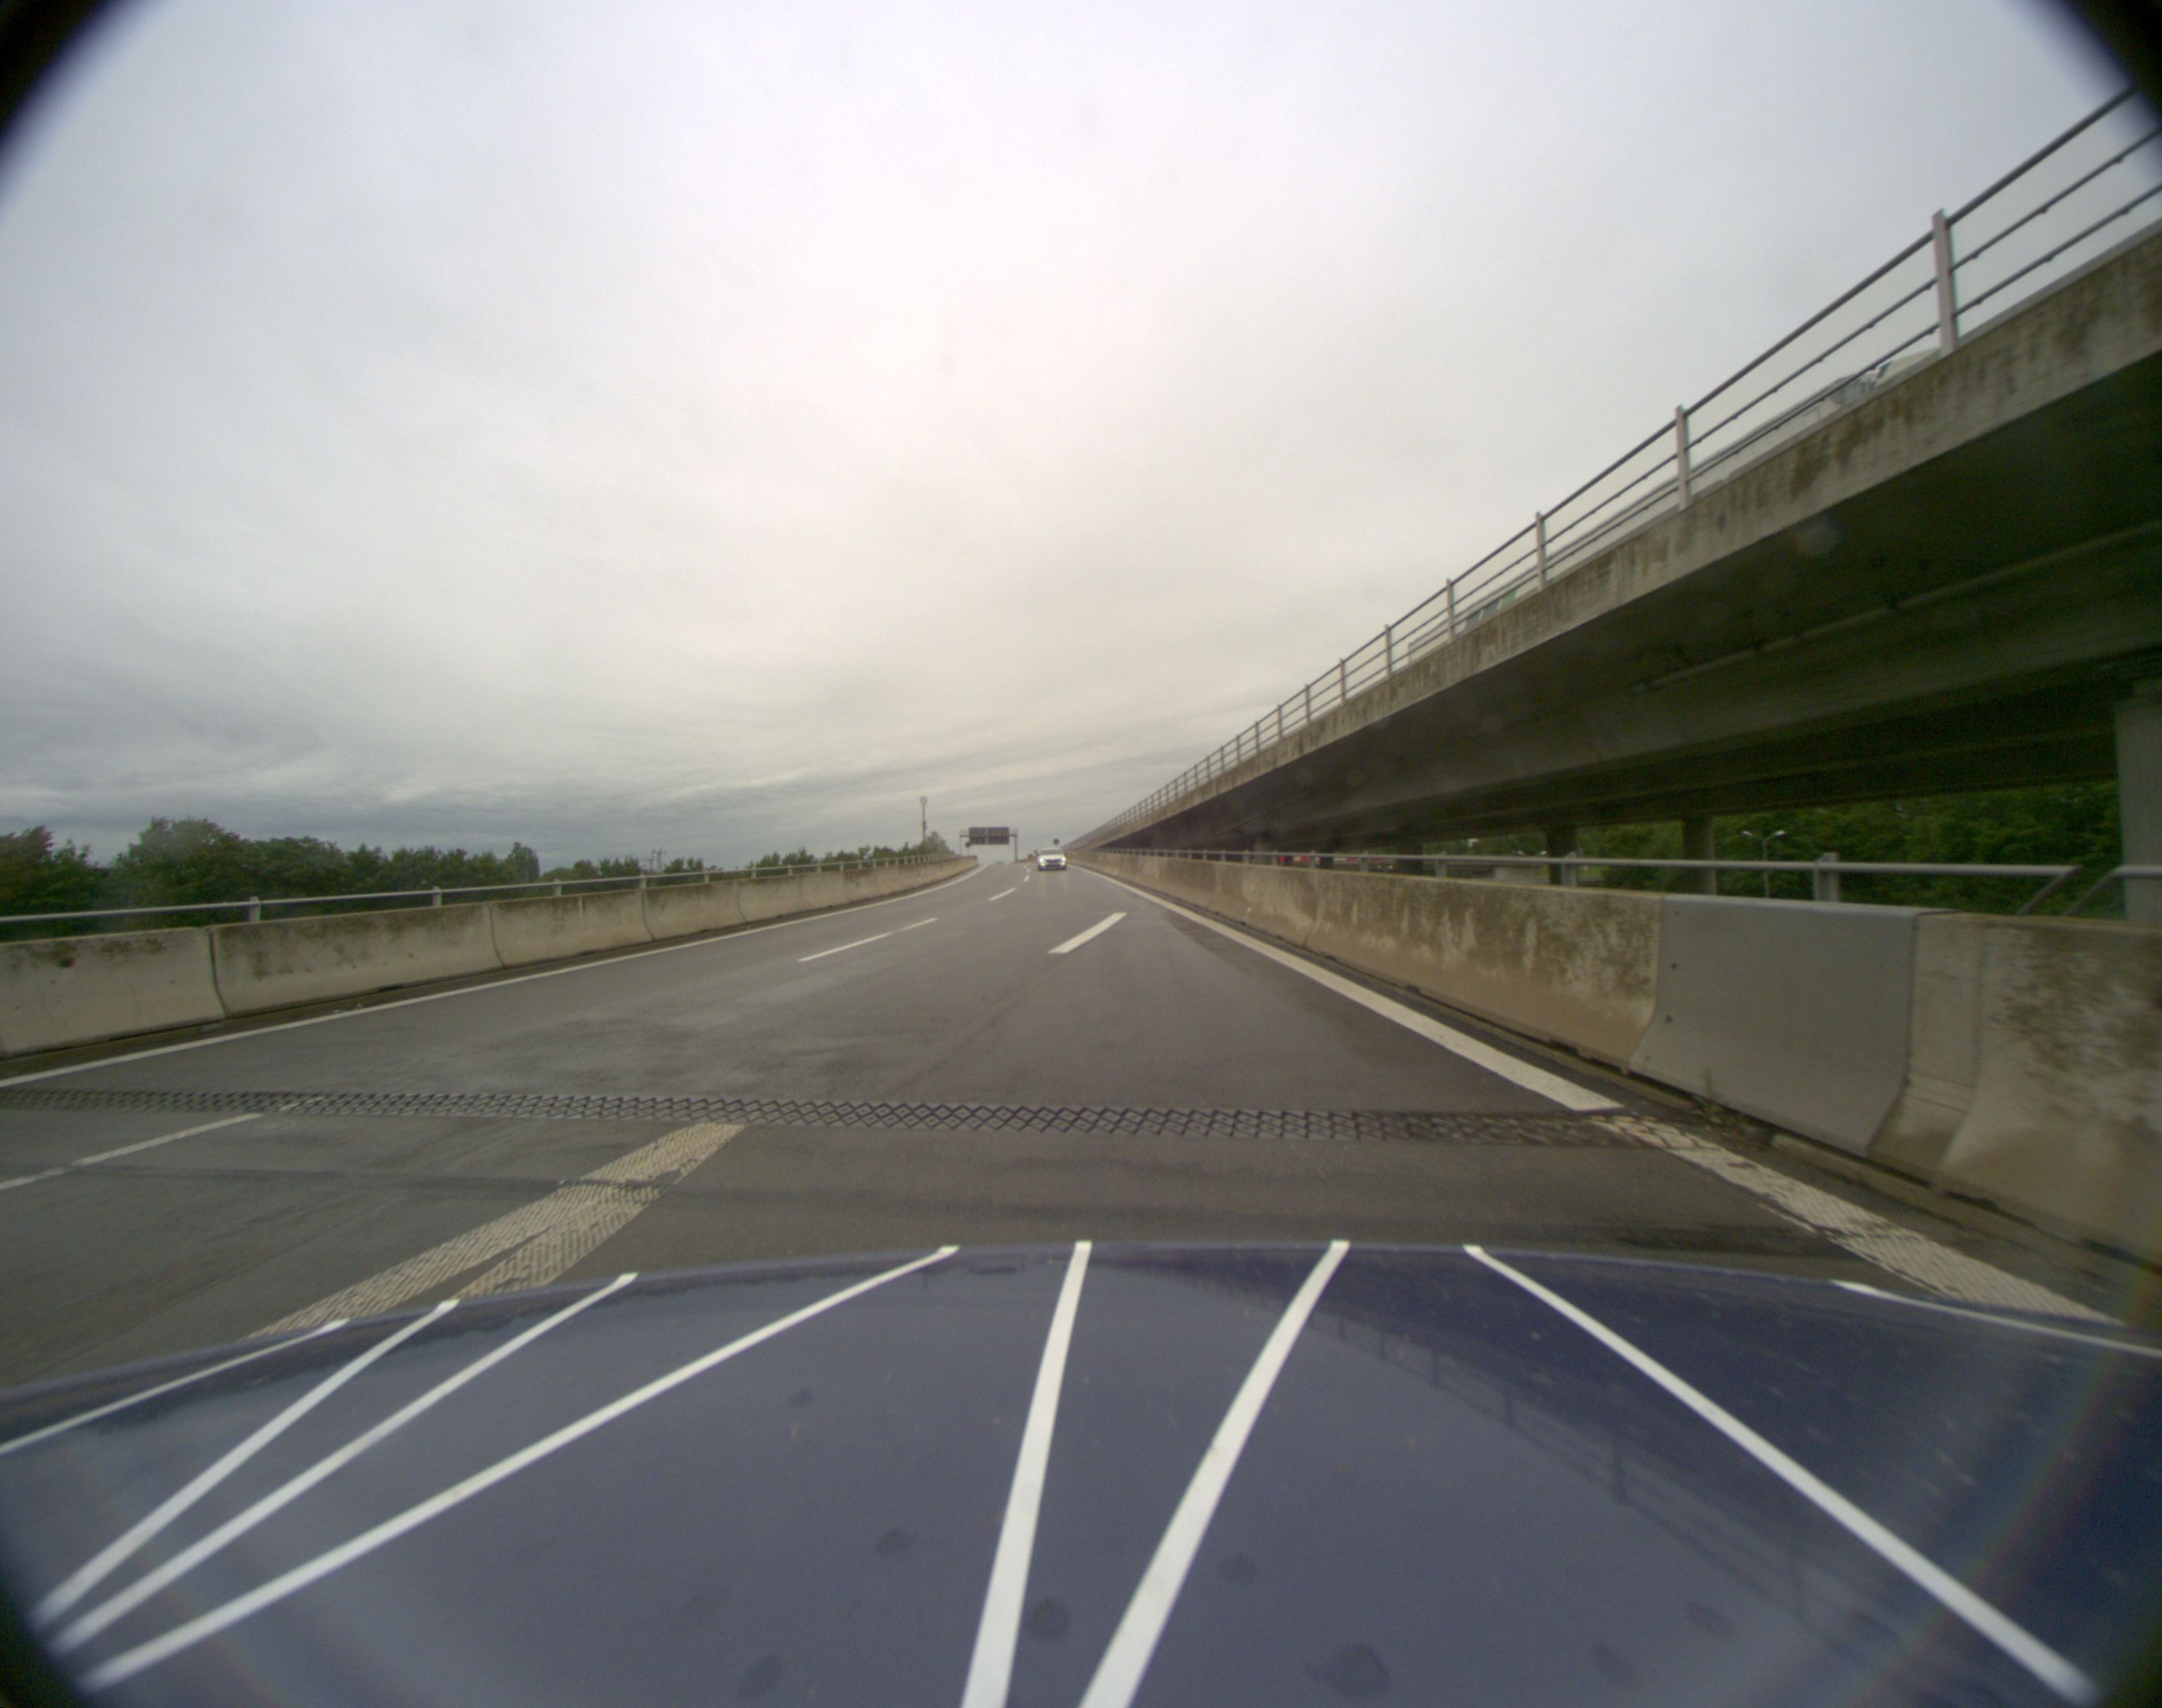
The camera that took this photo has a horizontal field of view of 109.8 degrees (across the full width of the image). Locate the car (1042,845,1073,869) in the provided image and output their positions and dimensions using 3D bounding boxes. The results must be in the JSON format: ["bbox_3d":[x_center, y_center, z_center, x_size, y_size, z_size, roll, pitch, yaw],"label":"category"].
[{"bbox_3d":[-1.554,0.163,49.953,1.915,1.439,4.554,0,1,-3],"label":"car"}]

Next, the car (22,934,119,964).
[{"bbox_3d":[-84.702,7.929,63.819,4.531,1.594,1.712,-7,6,-43],"label":"car"}]

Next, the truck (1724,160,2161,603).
[{"bbox_3d":[13.302,-6.316,11.362,2.596,3.226,5.194,-3,-1,-4],"label":"truck"}]

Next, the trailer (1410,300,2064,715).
[{"bbox_3d":[12.813,-6.451,18.295,2.665,3.278,14.058,-3,-1,-4],"label":"trailer"}]
